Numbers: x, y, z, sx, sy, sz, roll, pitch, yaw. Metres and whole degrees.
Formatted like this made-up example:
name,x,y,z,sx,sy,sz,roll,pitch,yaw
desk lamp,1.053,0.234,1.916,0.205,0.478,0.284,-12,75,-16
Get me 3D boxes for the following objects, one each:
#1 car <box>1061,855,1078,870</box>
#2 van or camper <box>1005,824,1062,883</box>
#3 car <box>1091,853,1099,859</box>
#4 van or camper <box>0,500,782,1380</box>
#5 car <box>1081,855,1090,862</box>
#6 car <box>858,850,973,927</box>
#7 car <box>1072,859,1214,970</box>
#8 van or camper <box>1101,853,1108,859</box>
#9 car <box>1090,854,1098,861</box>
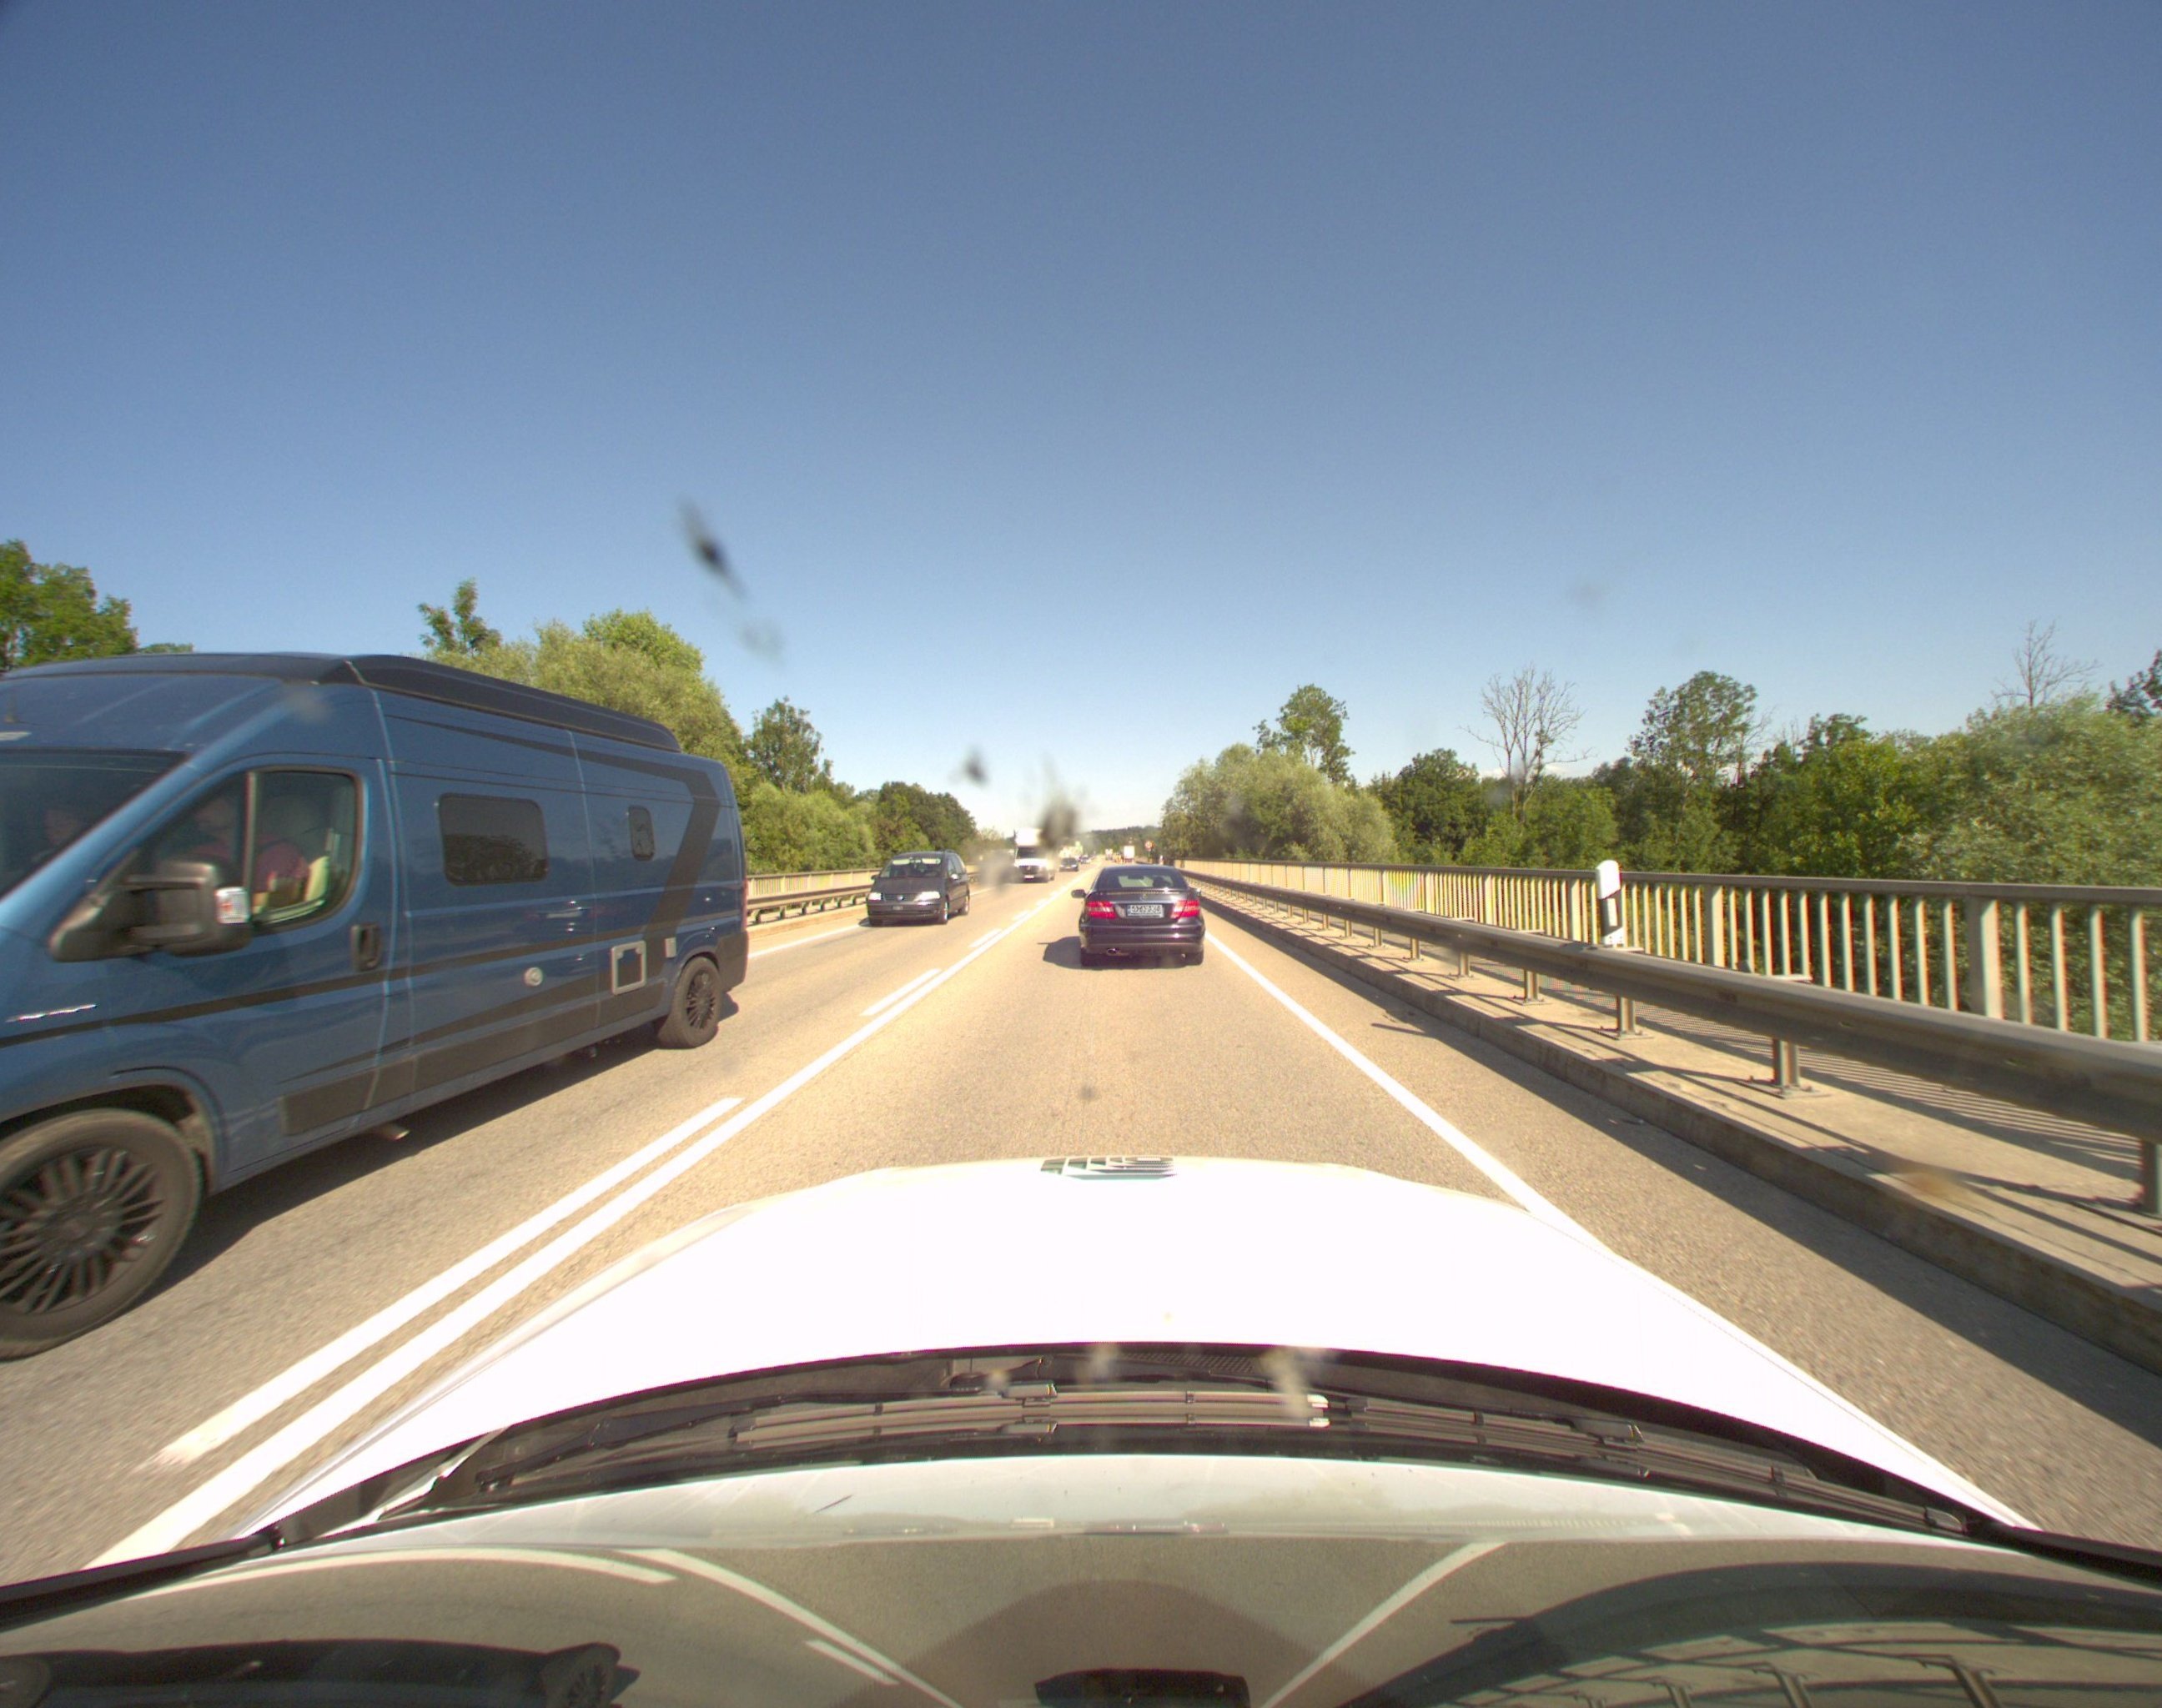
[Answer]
name,x,y,z,sx,sy,sz,roll,pitch,yaw
car,-1.129,0.851,80.607,1.654,1.436,4.187,-1,0,0
van or camper,-2.751,-0.027,49.719,2.625,3.256,7.754,-1,0,2
car,3.925,0.671,226.666,1.795,1.606,3.921,0,0,5
van or camper,-4.362,0.265,5.028,2.421,2.642,6.408,-1,0,2
car,0.941,0.883,166.491,1.694,1.356,3.738,-1,0,3
car,-3.904,0.753,19.964,1.835,1.642,4.577,-1,0,0
car,0.910,0.784,12.388,1.786,1.376,4.003,-1,0,3
van or camper,7.238,0.571,253.526,1.984,2.013,4.005,-1,0,5
car,3.833,1.007,240.229,1.982,2.013,4.010,-1,0,9
